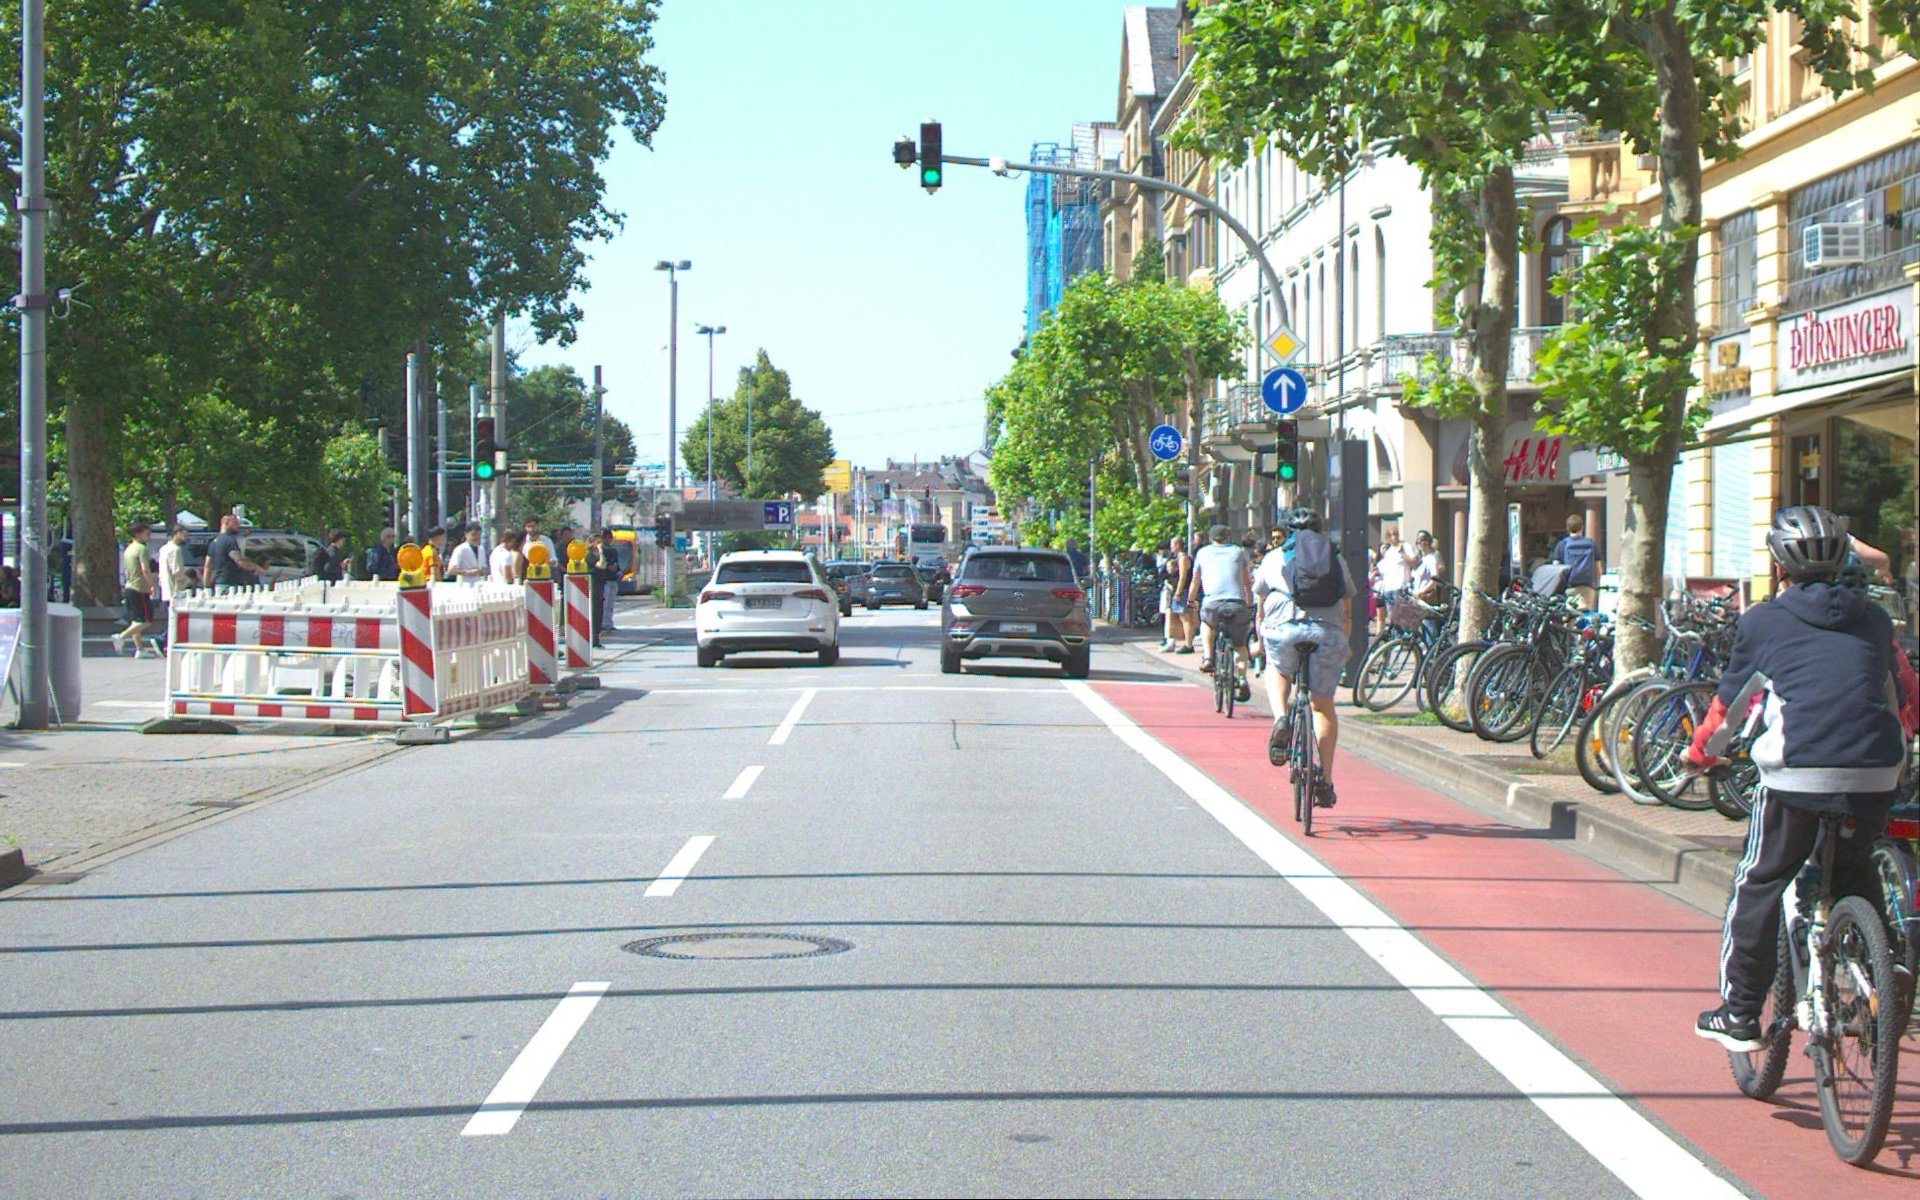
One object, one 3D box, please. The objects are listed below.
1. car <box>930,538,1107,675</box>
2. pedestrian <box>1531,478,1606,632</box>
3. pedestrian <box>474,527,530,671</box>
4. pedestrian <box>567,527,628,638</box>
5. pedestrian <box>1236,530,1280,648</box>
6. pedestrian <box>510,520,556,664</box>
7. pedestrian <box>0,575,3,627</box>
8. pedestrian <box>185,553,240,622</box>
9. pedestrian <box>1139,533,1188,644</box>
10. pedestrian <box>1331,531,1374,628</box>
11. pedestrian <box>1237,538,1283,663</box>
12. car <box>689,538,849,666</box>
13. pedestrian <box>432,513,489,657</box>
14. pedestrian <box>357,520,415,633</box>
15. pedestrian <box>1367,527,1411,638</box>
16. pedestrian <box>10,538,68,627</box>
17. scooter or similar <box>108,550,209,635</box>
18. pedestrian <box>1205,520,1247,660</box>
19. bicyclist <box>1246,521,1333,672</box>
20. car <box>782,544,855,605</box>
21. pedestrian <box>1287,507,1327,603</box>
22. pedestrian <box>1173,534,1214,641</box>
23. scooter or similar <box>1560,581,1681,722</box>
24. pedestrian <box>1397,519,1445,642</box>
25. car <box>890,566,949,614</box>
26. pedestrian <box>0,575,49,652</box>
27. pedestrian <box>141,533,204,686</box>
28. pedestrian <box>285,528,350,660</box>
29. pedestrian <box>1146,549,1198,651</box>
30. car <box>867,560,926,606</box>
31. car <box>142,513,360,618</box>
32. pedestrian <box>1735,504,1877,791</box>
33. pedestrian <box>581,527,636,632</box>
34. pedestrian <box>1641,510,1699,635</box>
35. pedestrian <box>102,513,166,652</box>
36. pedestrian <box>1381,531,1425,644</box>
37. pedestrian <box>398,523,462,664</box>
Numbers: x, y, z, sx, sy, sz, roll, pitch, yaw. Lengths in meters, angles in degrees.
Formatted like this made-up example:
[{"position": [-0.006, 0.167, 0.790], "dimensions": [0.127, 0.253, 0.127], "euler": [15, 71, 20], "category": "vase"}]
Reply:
[{"position": [0.661, 0.046, 41.968], "dimensions": [1.845, 1.554, 4.001], "euler": [1, 1, -3], "category": "car"}, {"position": [7.201, -0.514, 40.723], "dimensions": [0.657, 1.784, 1.233], "euler": [0, -1, -1], "category": "pedestrian"}, {"position": [-5.580, -0.017, 41.884], "dimensions": [0.429, 1.734, 0.606], "euler": [1, 0, -32], "category": "pedestrian"}, {"position": [-5.252, -0.254, 49.891], "dimensions": [0.633, 1.590, 0.686], "euler": [0, 0, 20], "category": "pedestrian"}, {"position": [3.861, -0.146, 44.589], "dimensions": [0.523, 1.516, 0.641], "euler": [-1, 0, 3], "category": "pedestrian"}, {"position": [-5.706, -0.107, 45.946], "dimensions": [0.532, 1.912, 0.560], "euler": [0, 0, 1], "category": "pedestrian"}, {"position": [-16.550, -0.437, 57.647], "dimensions": [0.633, 1.804, 0.614], "euler": [-4, -1, 19], "category": "pedestrian"}, {"position": [-12.393, -0.208, 57.001], "dimensions": [0.633, 1.140, 0.664], "euler": [0, 0, 20], "category": "pedestrian"}, {"position": [3.266, -0.182, 55.255], "dimensions": [0.610, 1.733, 0.678], "euler": [-4, 0, -2], "category": "pedestrian"}, {"position": [6.593, -0.349, 57.740], "dimensions": [0.610, 1.613, 0.678], "euler": [0, 2, -2], "category": "pedestrian"}, {"position": [3.952, -0.001, 45.251], "dimensions": [0.549, 1.625, 0.589], "euler": [-1, 0, 3], "category": "pedestrian"}, {"position": [-2.417, -0.008, 44.344], "dimensions": [1.845, 1.554, 4.000], "euler": [-1, 1, 0], "category": "car"}, {"position": [-6.272, -0.188, 43.188], "dimensions": [0.539, 1.773, 0.606], "euler": [2, 0, 5], "category": "pedestrian"}, {"position": [-9.244, -0.373, 55.380], "dimensions": [0.633, 1.804, 0.730], "euler": [0, 0, 20], "category": "pedestrian"}, {"position": [6.275, -0.256, 50.309], "dimensions": [0.522, 1.606, 0.641], "euler": [-1, 0, 0], "category": "pedestrian"}, {"position": [-15.403, -0.297, 57.506], "dimensions": [0.633, 1.473, 0.730], "euler": [0, 0, 20], "category": "pedestrian"}, {"position": [-13.461, -0.133, 57.747], "dimensions": [1.278, 1.416, 1.037], "euler": [0, 0, 30], "category": "scooter or similar"}, {"position": [3.630, -0.131, 46.950], "dimensions": [0.523, 1.891, 0.641], "euler": [-1, 0, 3], "category": "pedestrian"}, {"position": [3.992, -0.044, 41.677], "dimensions": [0.573, 1.791, 0.857], "euler": [-3, 1, -35], "category": "bicyclist"}, {"position": [-3.740, -0.689, 91.382], "dimensions": [1.845, 1.554, 4.000], "euler": [0, 1, -1], "category": "car"}, {"position": [6.476, -0.841, 64.219], "dimensions": [0.675, 1.785, 0.612], "euler": [0, 0, -1], "category": "pedestrian"}, {"position": [3.986, -0.215, 58.641], "dimensions": [0.610, 1.817, 0.678], "euler": [0, 0, -2], "category": "pedestrian"}, {"position": [5.675, 0.432, 29.593], "dimensions": [0.420, 1.174, 1.232], "euler": [0, 1, -21], "category": "scooter or similar"}, {"position": [6.178, -0.257, 46.090], "dimensions": [0.549, 1.634, 0.589], "euler": [-1, 0, 3], "category": "pedestrian"}, {"position": [-1.535, -0.400, 127.729], "dimensions": [1.844, 1.662, 4.001], "euler": [2, 1, -5], "category": "car"}, {"position": [-15.978, 0.223, 58.474], "dimensions": [0.633, 1.288, 0.730], "euler": [0, 0, 20], "category": "pedestrian"}, {"position": [-9.832, 0.119, 42.941], "dimensions": [0.576, 1.884, 0.653], "euler": [2, 0, 1], "category": "pedestrian"}, {"position": [-9.089, -0.088, 48.649], "dimensions": [0.633, 1.852, 0.686], "euler": [0, 0, 20], "category": "pedestrian"}, {"position": [3.240, 0.005, 52.594], "dimensions": [0.610, 1.510, 0.678], "euler": [-4, 0, -2], "category": "pedestrian"}, {"position": [-2.021, -0.554, 108.776], "dimensions": [1.845, 1.409, 4.000], "euler": [0, 1, -1], "category": "car"}, {"position": [-13.596, -0.654, 66.216], "dimensions": [1.861, 1.948, 4.756], "euler": [0, 0, 20], "category": "car"}, {"position": [4.825, 0.262, 19.642], "dimensions": [0.615, 1.607, 0.745], "euler": [1, 1, 0], "category": "pedestrian"}, {"position": [-6.156, -0.361, 60.233], "dimensions": [0.633, 1.828, 0.730], "euler": [0, 0, 29], "category": "pedestrian"}, {"position": [10.323, -0.397, 50.010], "dimensions": [0.549, 1.795, 0.588], "euler": [-1, 0, -45], "category": "pedestrian"}, {"position": [-10.546, -0.236, 43.915], "dimensions": [0.584, 1.715, 0.789], "euler": [0, 5, 1], "category": "pedestrian"}, {"position": [6.388, -0.182, 49.606], "dimensions": [0.522, 1.603, 0.641], "euler": [-1, 0, 0], "category": "pedestrian"}, {"position": [-6.539, -0.081, 42.395], "dimensions": [0.539, 1.712, 0.606], "euler": [1, 0, -32], "category": "pedestrian"}]
